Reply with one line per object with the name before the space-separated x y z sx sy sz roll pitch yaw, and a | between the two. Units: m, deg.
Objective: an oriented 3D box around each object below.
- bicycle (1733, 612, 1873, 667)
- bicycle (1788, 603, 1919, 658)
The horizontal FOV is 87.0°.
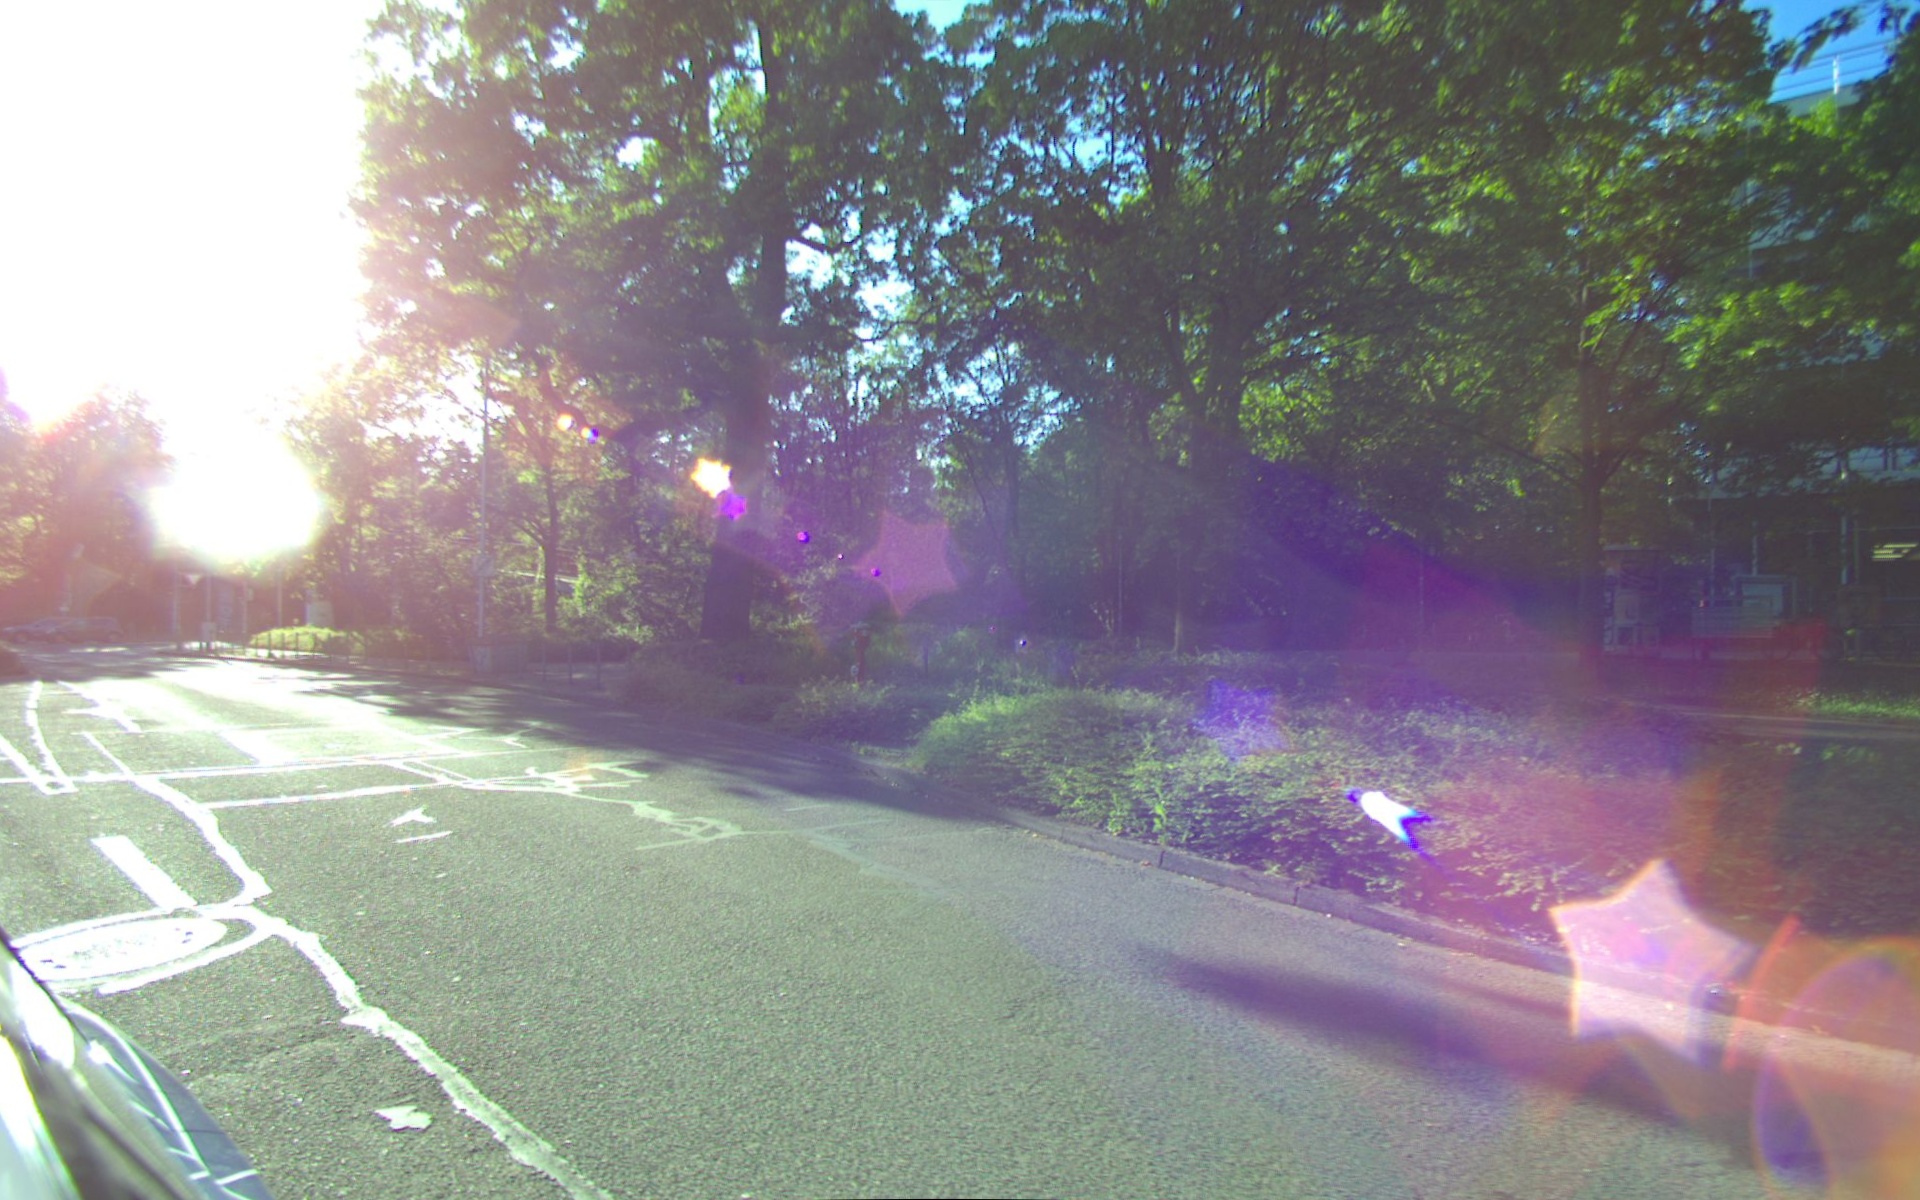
bicycle | 17.827 0.804 21.497 0.528 1.079 2.435 -3 0 -11
bicycle | 19.263 0.633 21.394 0.528 1.079 2.642 -5 1 -32
